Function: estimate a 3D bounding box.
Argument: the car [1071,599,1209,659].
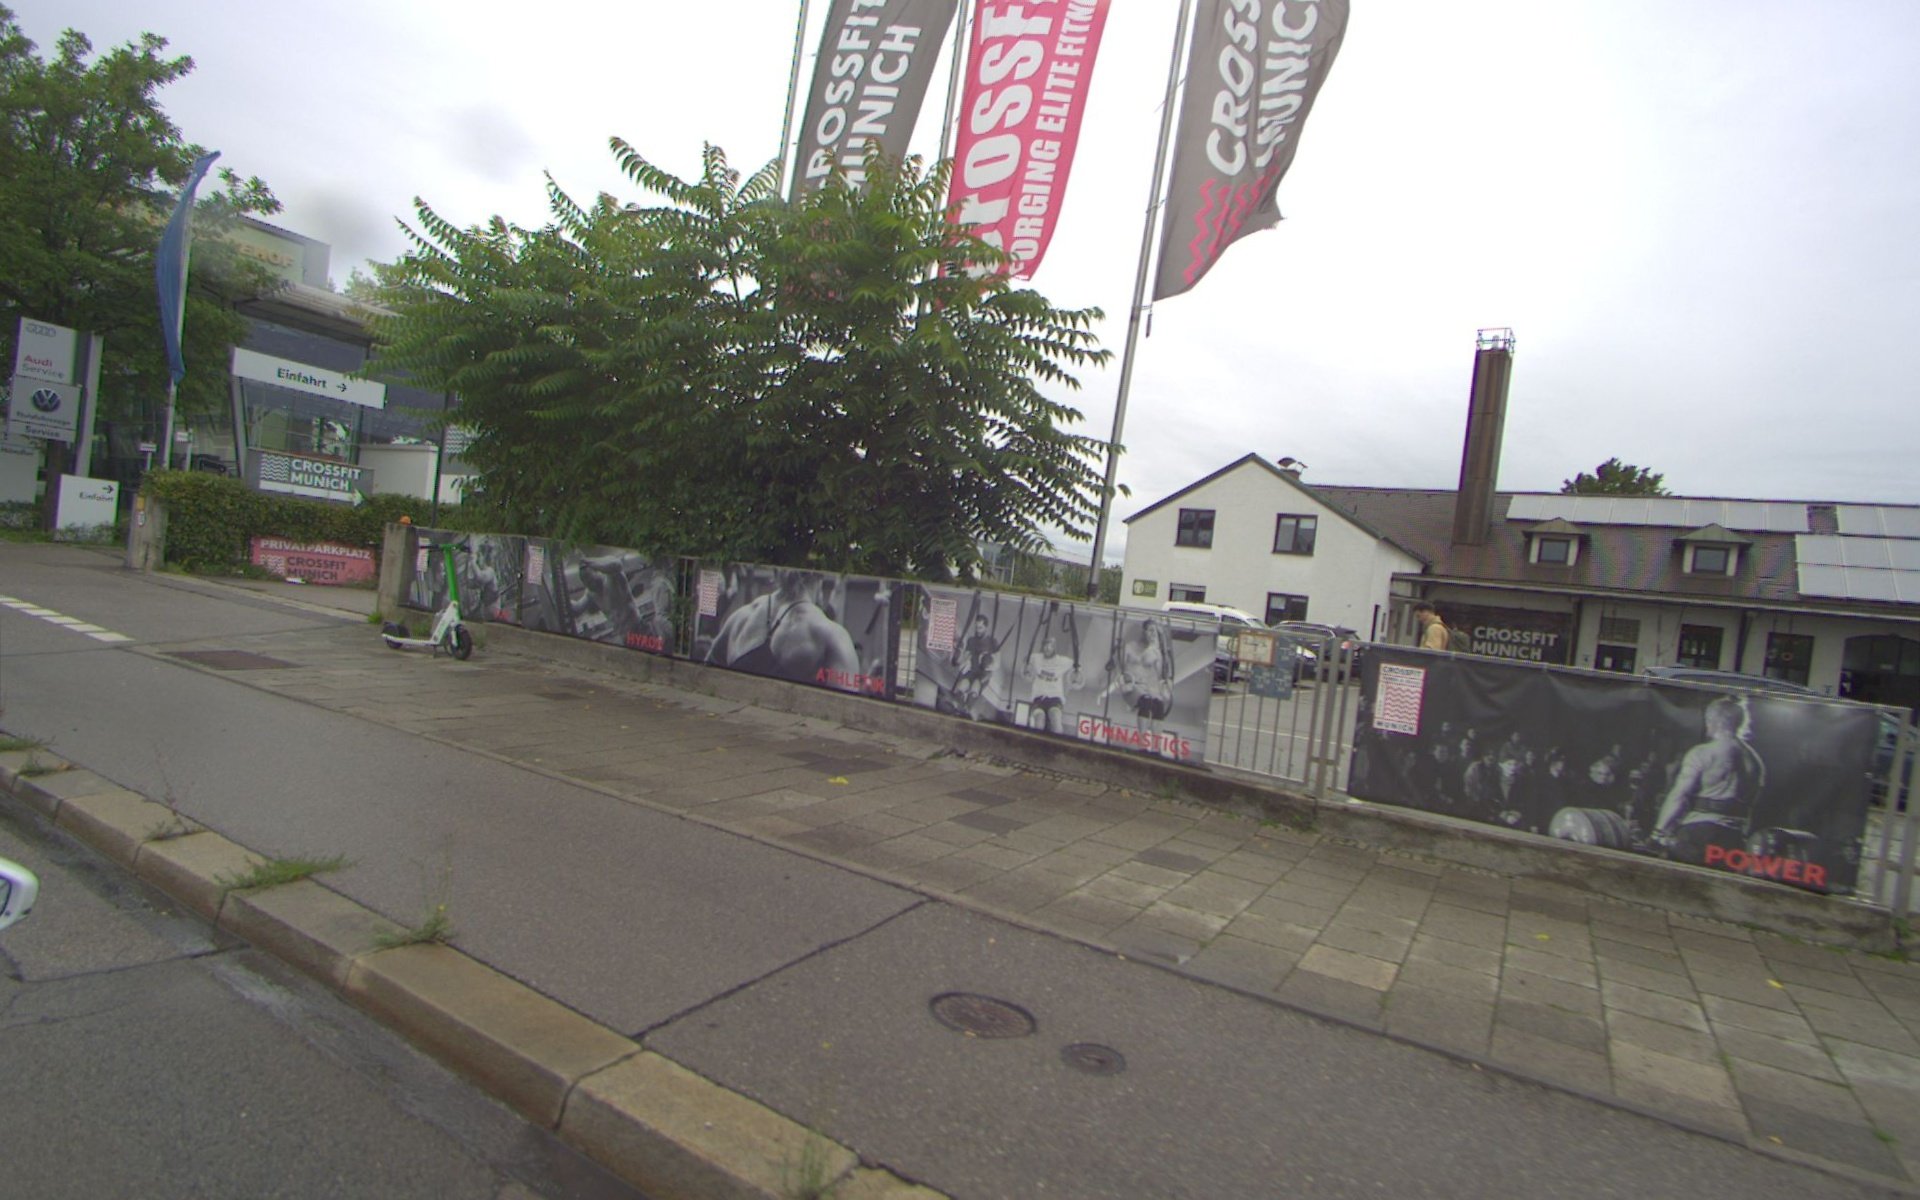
[{"bbox_3d":[6.208,1.000,34.833,4.154,1.514,1.922,7,1,33],"label":"car"}]

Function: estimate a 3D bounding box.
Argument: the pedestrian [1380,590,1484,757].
[{"bbox_3d":[5.903,0.901,12.562,0.916,1.925,0.734,7,1,30],"label":"pedestrian"}]

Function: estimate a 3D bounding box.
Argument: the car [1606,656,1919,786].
[{"bbox_3d":[14.215,2.060,17.770,4.470,1.531,1.920,7,0,37],"label":"car"}]

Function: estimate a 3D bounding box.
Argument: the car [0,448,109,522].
[{"bbox_3d":[-30.017,-3.714,31.937,4.214,2.040,1.946,4,2,-32],"label":"car"}]

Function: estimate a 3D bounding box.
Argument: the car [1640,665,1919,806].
[{"bbox_3d":[12.859,2.026,15.129,4.052,1.512,1.918,7,0,41],"label":"car"}]

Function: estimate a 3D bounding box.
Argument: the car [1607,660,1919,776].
[{"bbox_3d":[15.803,2.273,20.117,4.560,1.487,1.920,7,0,37],"label":"car"}]

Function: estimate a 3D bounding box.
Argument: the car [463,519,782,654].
[{"bbox_3d":[-4.694,-0.118,14.534,1.764,1.478,4.015,7,0,34],"label":"car"}]

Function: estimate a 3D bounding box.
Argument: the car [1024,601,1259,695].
[{"bbox_3d":[3.893,1.017,21.890,4.546,1.404,1.921,7,0,35],"label":"car"}]

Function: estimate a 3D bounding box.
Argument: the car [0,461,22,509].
[{"bbox_3d":[-37.417,-4.437,36.480,1.969,1.729,4.602,5,1,14],"label":"car"}]

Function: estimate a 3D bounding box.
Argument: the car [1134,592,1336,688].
[{"bbox_3d":[7.197,1.017,26.511,4.613,1.927,1.921,7,1,35],"label":"car"}]

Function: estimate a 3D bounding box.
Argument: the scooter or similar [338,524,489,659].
[{"bbox_3d":[-5.711,-0.102,10.489,1.609,1.240,0.397,6,3,21],"label":"scooter or similar"}]

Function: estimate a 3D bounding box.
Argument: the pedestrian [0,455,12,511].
[{"bbox_3d":[-31.755,-3.869,32.864,0.704,1.798,0.805,7,1,-10],"label":"pedestrian"}]

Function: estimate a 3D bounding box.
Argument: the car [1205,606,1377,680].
[{"bbox_3d":[10.259,1.321,31.336,4.613,1.689,1.921,7,1,35],"label":"car"}]
